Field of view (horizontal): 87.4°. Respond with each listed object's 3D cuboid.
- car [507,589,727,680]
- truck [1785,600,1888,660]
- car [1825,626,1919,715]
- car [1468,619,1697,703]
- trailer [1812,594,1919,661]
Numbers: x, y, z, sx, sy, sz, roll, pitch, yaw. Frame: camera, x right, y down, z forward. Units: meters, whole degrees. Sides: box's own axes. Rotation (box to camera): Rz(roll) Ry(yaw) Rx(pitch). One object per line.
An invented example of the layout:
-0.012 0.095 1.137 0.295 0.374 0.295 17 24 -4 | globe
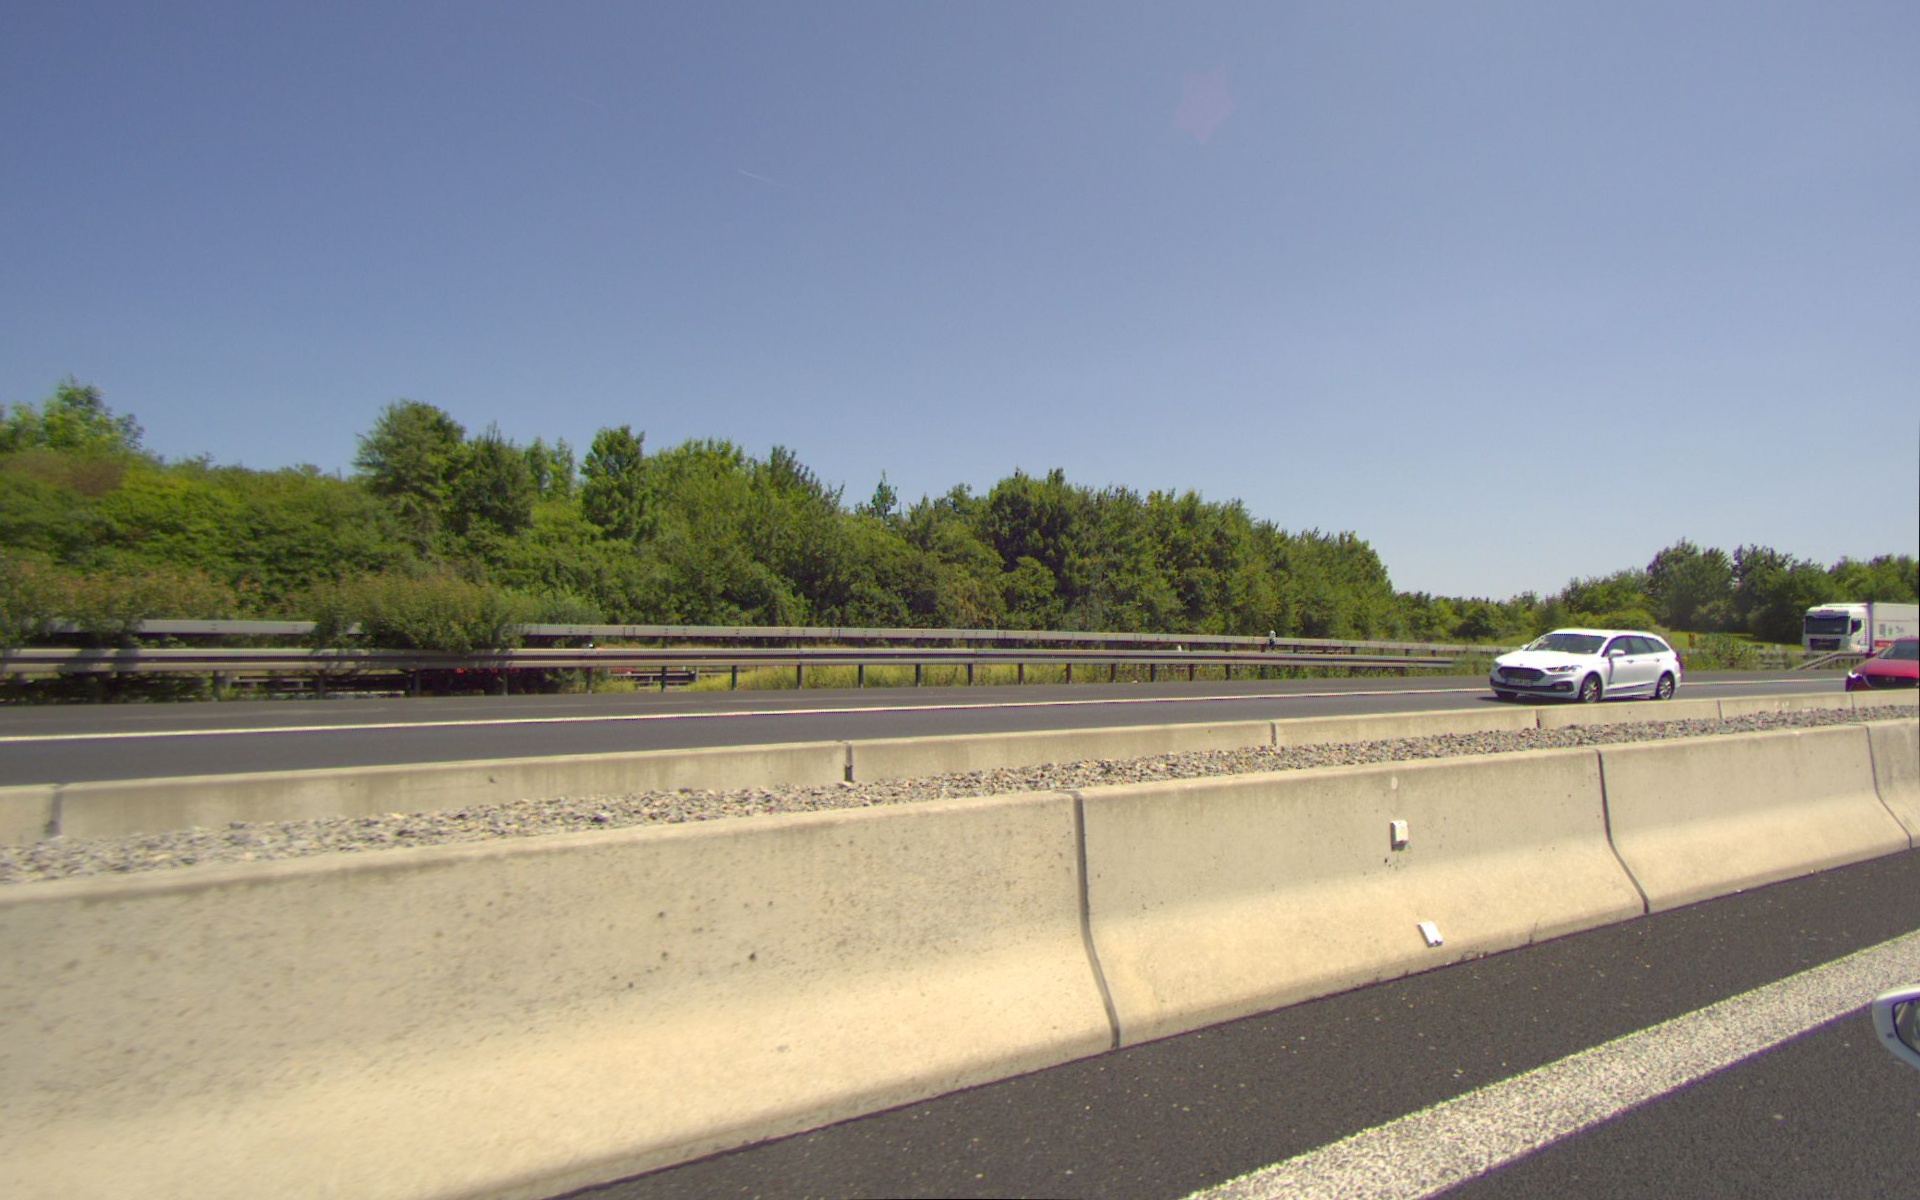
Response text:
-7.782 0.793 22.927 4.385 1.882 1.981 2 -2 -35 | car
54.923 1.899 62.927 5.340 3.550 3.072 2 -1 -27 | truck
20.239 1.448 20.918 4.579 1.681 1.984 2 -1 -30 | car
13.109 1.246 21.068 4.982 1.564 1.984 2 -1 -30 | car
61.746 1.925 66.404 13.903 4.050 3.097 2 -1 -27 | trailer
